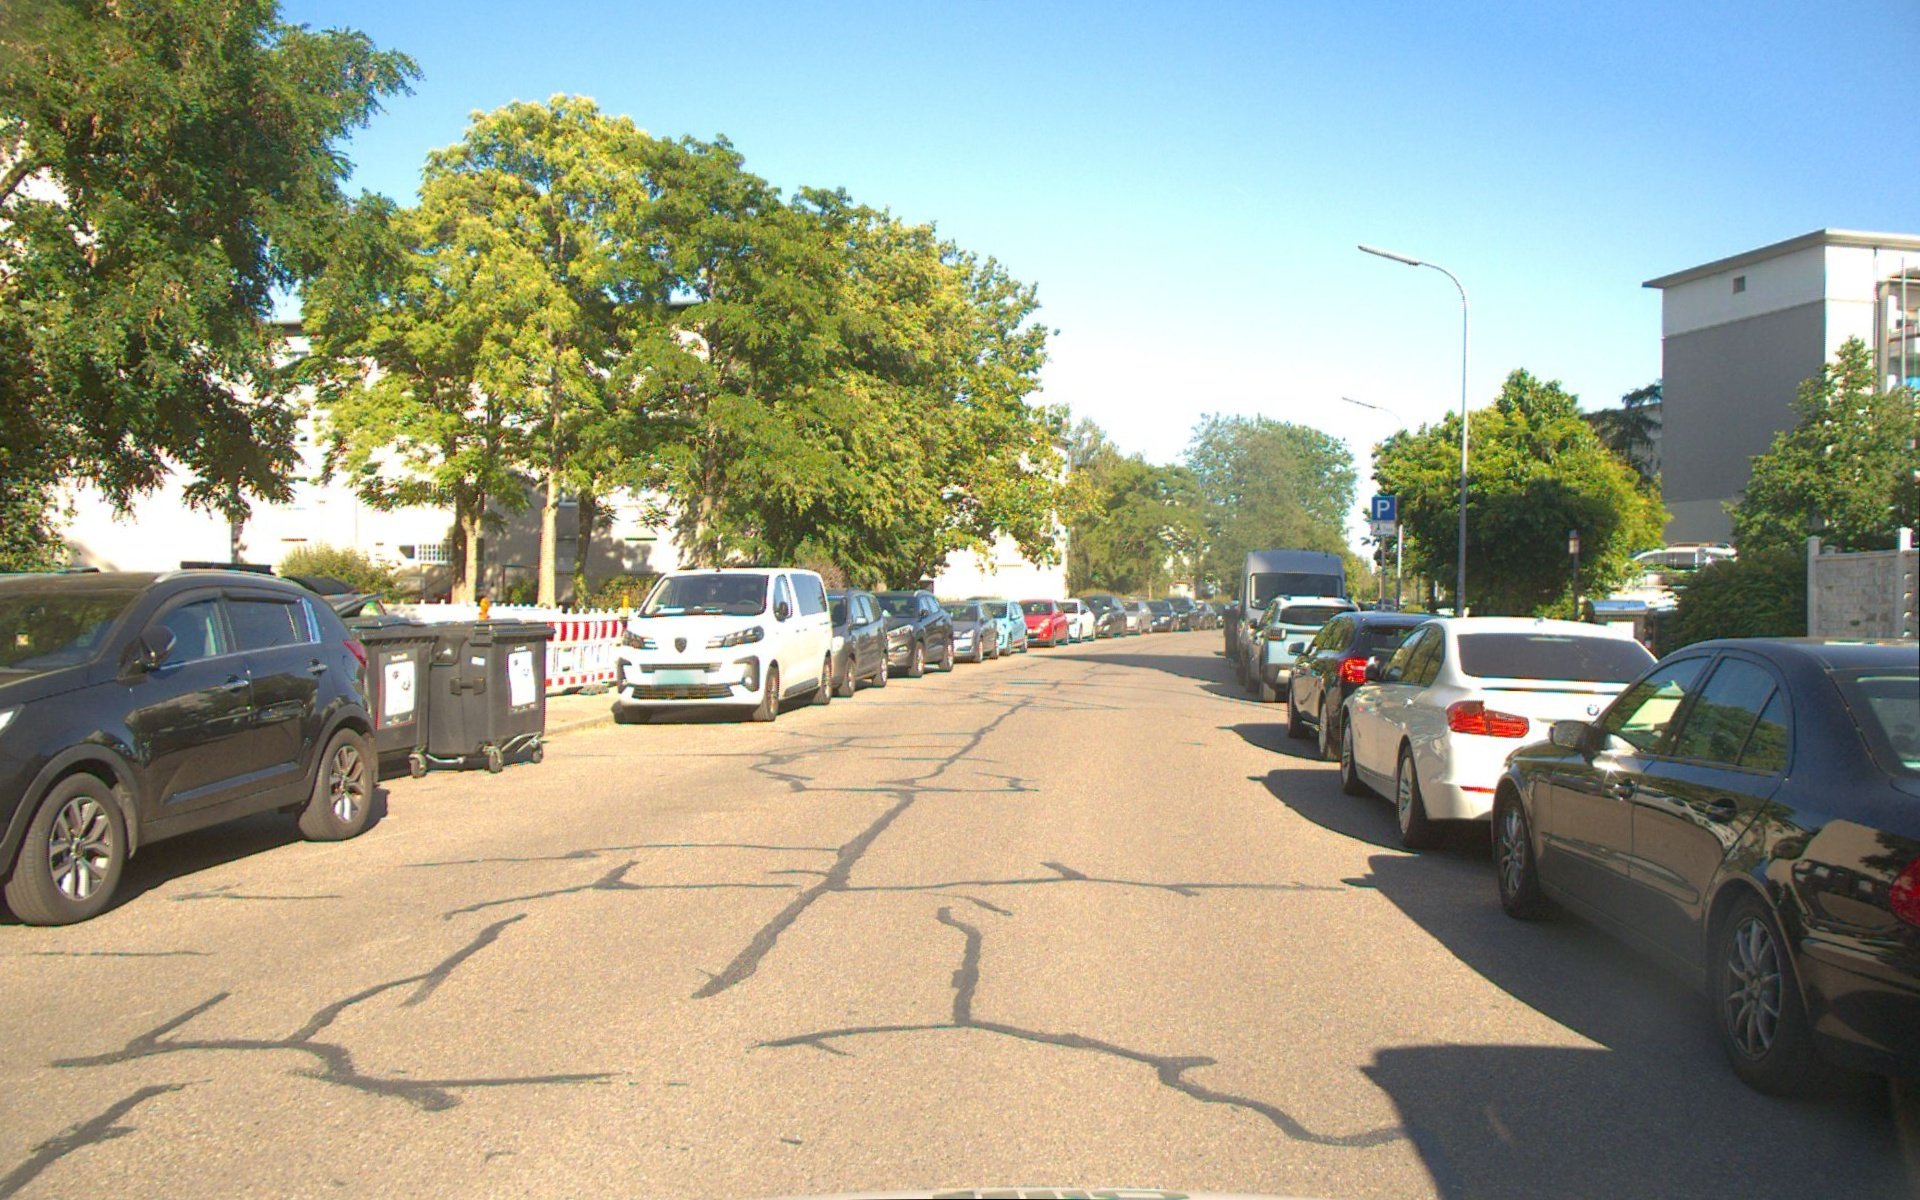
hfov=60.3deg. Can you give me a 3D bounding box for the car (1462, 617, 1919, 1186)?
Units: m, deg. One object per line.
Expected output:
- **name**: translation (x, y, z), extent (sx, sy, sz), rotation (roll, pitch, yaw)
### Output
- **car**: translation (3.609, 0.820, 6.576), extent (1.952, 1.442, 4.925), rotation (0, 0, 3)

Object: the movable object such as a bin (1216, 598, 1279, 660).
- **movable object such as a bin**: translation (6.481, 0.638, 37.292), extent (1.242, 1.336, 1.123), rotation (-1, 1, 18)

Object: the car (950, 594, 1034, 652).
- **car**: translation (0.914, 0.603, 45.336), extent (1.634, 1.500, 3.681), rotation (-1, 0, 12)

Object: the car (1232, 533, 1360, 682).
- **car**: translation (6.346, 0.127, 31.840), extent (2.060, 2.529, 5.860), rotation (2, 0, 9)

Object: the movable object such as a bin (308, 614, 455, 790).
- **movable object such as a bin**: translation (-4.742, 0.800, 13.626), extent (0.596, 1.363, 1.270), rotation (0, 0, 9)

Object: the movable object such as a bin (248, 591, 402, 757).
- **movable object such as a bin**: translation (-5.683, 0.644, 14.866), extent (1.040, 1.424, 0.893), rotation (1, 0, -4)

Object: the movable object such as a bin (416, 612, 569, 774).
- **movable object such as a bin**: translation (-4.159, 0.800, 14.800), extent (0.786, 1.338, 1.322), rotation (0, 1, 12)

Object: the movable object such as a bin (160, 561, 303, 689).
- **movable object such as a bin**: translation (-9.277, 0.313, 21.127), extent (1.232, 1.578, 1.280), rotation (0, 0, 1)

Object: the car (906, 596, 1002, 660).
- **car**: translation (-0.104, 0.658, 40.302), extent (1.634, 1.462, 4.003), rotation (-1, 0, 10)

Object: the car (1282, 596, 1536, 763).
- **car**: translation (4.533, 0.725, 17.334), extent (1.869, 1.514, 4.378), rotation (0, 0, 6)

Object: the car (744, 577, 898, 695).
- **car**: translation (-2.156, 0.522, 26.738), extent (1.522, 1.752, 4.344), rotation (0, 0, 8)

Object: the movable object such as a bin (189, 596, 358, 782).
- **movable object such as a bin**: translation (-5.756, 0.724, 13.927), extent (1.040, 1.493, 0.893), rotation (1, 0, -4)

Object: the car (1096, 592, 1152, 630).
- **car**: translation (6.996, 0.453, 70.297), extent (1.625, 1.512, 4.055), rotation (-1, 0, 16)

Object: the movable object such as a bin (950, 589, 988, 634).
- **movable object such as a bin**: translation (0.307, 0.375, 57.326), extent (1.087, 1.524, 1.410), rotation (0, 1, 10)

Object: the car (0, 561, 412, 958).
- **car**: translation (-4.669, 0.672, 8.941), extent (1.639, 1.667, 4.253), rotation (-1, 0, 5)

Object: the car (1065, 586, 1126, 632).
- **car**: translation (5.269, 0.339, 63.889), extent (1.635, 1.696, 4.409), rotation (-1, 0, 14)

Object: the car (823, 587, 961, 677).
- **car**: translation (-1.264, 0.574, 32.757), extent (1.711, 1.646, 4.366), rotation (0, 0, 12)

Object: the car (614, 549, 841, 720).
- **car**: translation (-2.895, 0.387, 21.670), extent (1.824, 1.995, 4.674), rotation (0, 0, 7)

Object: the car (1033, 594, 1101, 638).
- **car**: translation (3.749, 0.543, 57.452), extent (1.635, 1.446, 3.904), rotation (-1, 0, 14)

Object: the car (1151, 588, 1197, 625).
- **car**: translation (10.536, 0.311, 81.229), extent (1.625, 1.718, 4.052), rotation (-1, 0, 16)

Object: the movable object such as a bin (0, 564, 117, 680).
- **movable object such as a bin**: translation (-12.341, 0.285, 22.270), extent (1.231, 1.515, 1.281), rotation (0, 0, 8)

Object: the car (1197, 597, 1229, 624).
- **car**: translation (14.286, 0.577, 93.451), extent (1.360, 1.438, 3.127), rotation (-1, 0, 17)

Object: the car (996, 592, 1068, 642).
- **car**: translation (2.303, 0.519, 52.045), extent (1.634, 1.500, 3.681), rotation (-1, 0, 12)

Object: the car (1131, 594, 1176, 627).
- **car**: translation (8.862, 0.476, 75.525), extent (1.624, 1.451, 4.052), rotation (-1, 0, 12)

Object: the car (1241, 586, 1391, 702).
- **car**: translation (5.594, 0.643, 26.466), extent (1.869, 1.695, 4.378), rotation (0, 0, 6)

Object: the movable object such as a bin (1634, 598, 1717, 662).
- **movable object such as a bin**: translation (15.100, 0.625, 34.935), extent (1.382, 1.328, 1.383), rotation (0, 0, 14)

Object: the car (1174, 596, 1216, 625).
- **car**: translation (12.177, 0.523, 85.692), extent (1.625, 1.464, 3.762), rotation (-1, 0, 16)

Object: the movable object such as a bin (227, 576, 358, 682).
- **movable object such as a bin**: translation (-9.255, 0.387, 22.998), extent (1.249, 1.426, 1.263), rotation (0, 0, 4)

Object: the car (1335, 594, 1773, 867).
- **car**: translation (3.833, 0.727, 11.517), extent (1.869, 1.514, 4.378), rotation (0, 0, 6)

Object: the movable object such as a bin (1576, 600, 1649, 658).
- **movable object such as a bin**: translation (15.225, 0.660, 38.637), extent (1.382, 1.328, 1.383), rotation (0, 0, 14)

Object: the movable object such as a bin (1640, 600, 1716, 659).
- **movable object such as a bin**: translation (16.608, 0.668, 38.305), extent (1.382, 1.328, 1.383), rotation (0, 0, 14)
